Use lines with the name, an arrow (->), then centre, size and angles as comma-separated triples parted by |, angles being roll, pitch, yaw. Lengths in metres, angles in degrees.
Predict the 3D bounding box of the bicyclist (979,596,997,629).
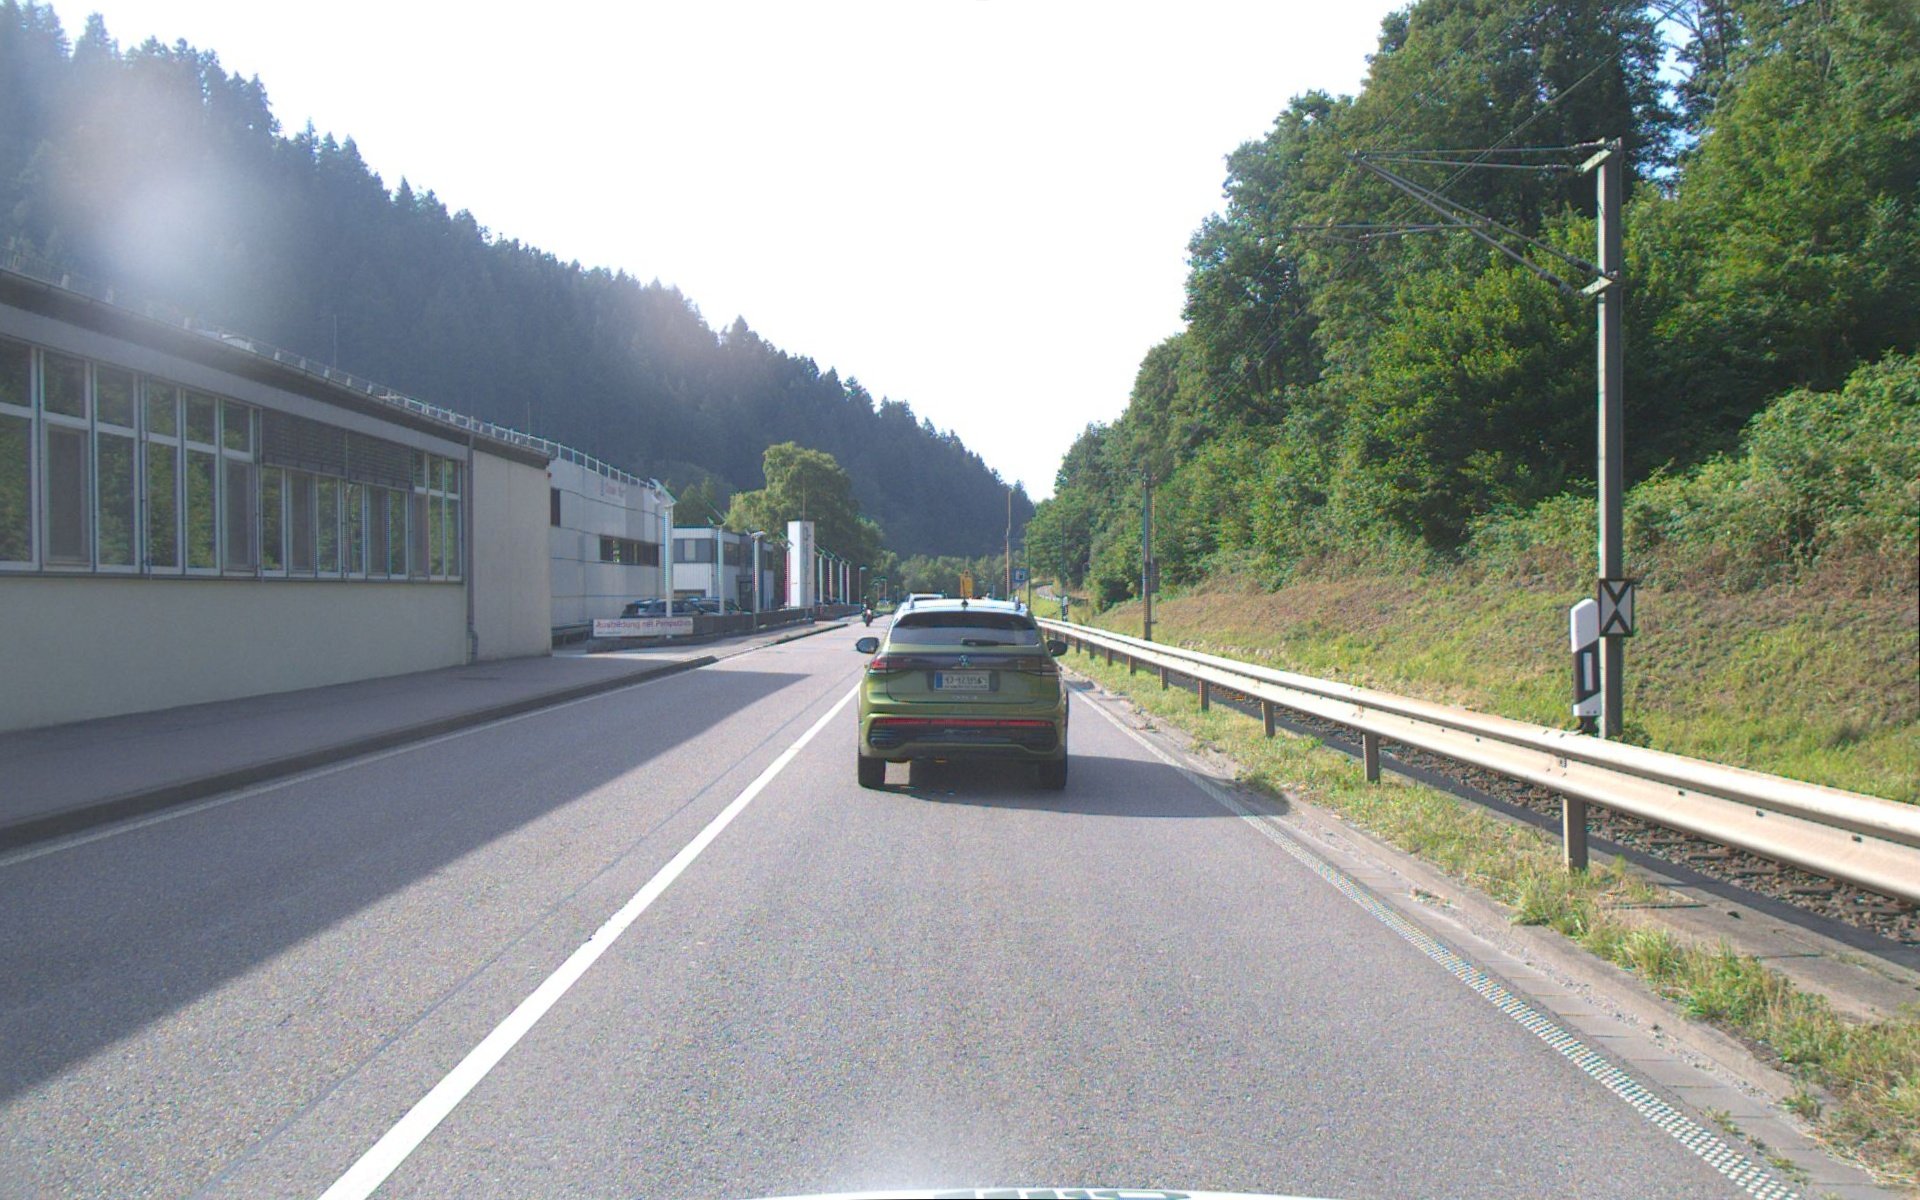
bicyclist -> 1.212, 0.530, 71.775 | 0.766, 1.436, 0.675 | 0, 0, -3

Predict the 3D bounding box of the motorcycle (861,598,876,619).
motorcycle -> -4.837, 0.448, 87.619 | 0.726, 1.087, 2.492 | 0, 0, -1

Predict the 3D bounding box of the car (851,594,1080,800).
car -> -0.003, 0.725, 14.359 | 1.704, 1.534, 3.999 | 0, 0, -2

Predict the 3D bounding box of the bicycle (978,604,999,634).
bicycle -> 1.215, 0.813, 71.660 | 0.795, 1.272, 2.121 | 0, 0, -2

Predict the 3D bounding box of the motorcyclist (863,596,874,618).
motorcyclist -> -4.873, 0.360, 87.976 | 0.574, 1.144, 0.636 | 0, 0, -1

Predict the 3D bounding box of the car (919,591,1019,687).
car -> 0.111, 0.663, 30.332 | 1.704, 1.630, 3.999 | 1, 0, -2

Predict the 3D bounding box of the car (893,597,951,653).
car -> -1.164, 0.729, 50.564 | 1.704, 1.630, 3.999 | 1, 0, -2

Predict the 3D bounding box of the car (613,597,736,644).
car -> -10.274, 0.723, 59.743 | 1.854, 1.619, 4.152 | 0, 0, 41

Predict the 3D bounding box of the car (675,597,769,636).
car -> -10.725, 0.733, 74.765 | 1.749, 1.738, 4.087 | 0, 0, 41
